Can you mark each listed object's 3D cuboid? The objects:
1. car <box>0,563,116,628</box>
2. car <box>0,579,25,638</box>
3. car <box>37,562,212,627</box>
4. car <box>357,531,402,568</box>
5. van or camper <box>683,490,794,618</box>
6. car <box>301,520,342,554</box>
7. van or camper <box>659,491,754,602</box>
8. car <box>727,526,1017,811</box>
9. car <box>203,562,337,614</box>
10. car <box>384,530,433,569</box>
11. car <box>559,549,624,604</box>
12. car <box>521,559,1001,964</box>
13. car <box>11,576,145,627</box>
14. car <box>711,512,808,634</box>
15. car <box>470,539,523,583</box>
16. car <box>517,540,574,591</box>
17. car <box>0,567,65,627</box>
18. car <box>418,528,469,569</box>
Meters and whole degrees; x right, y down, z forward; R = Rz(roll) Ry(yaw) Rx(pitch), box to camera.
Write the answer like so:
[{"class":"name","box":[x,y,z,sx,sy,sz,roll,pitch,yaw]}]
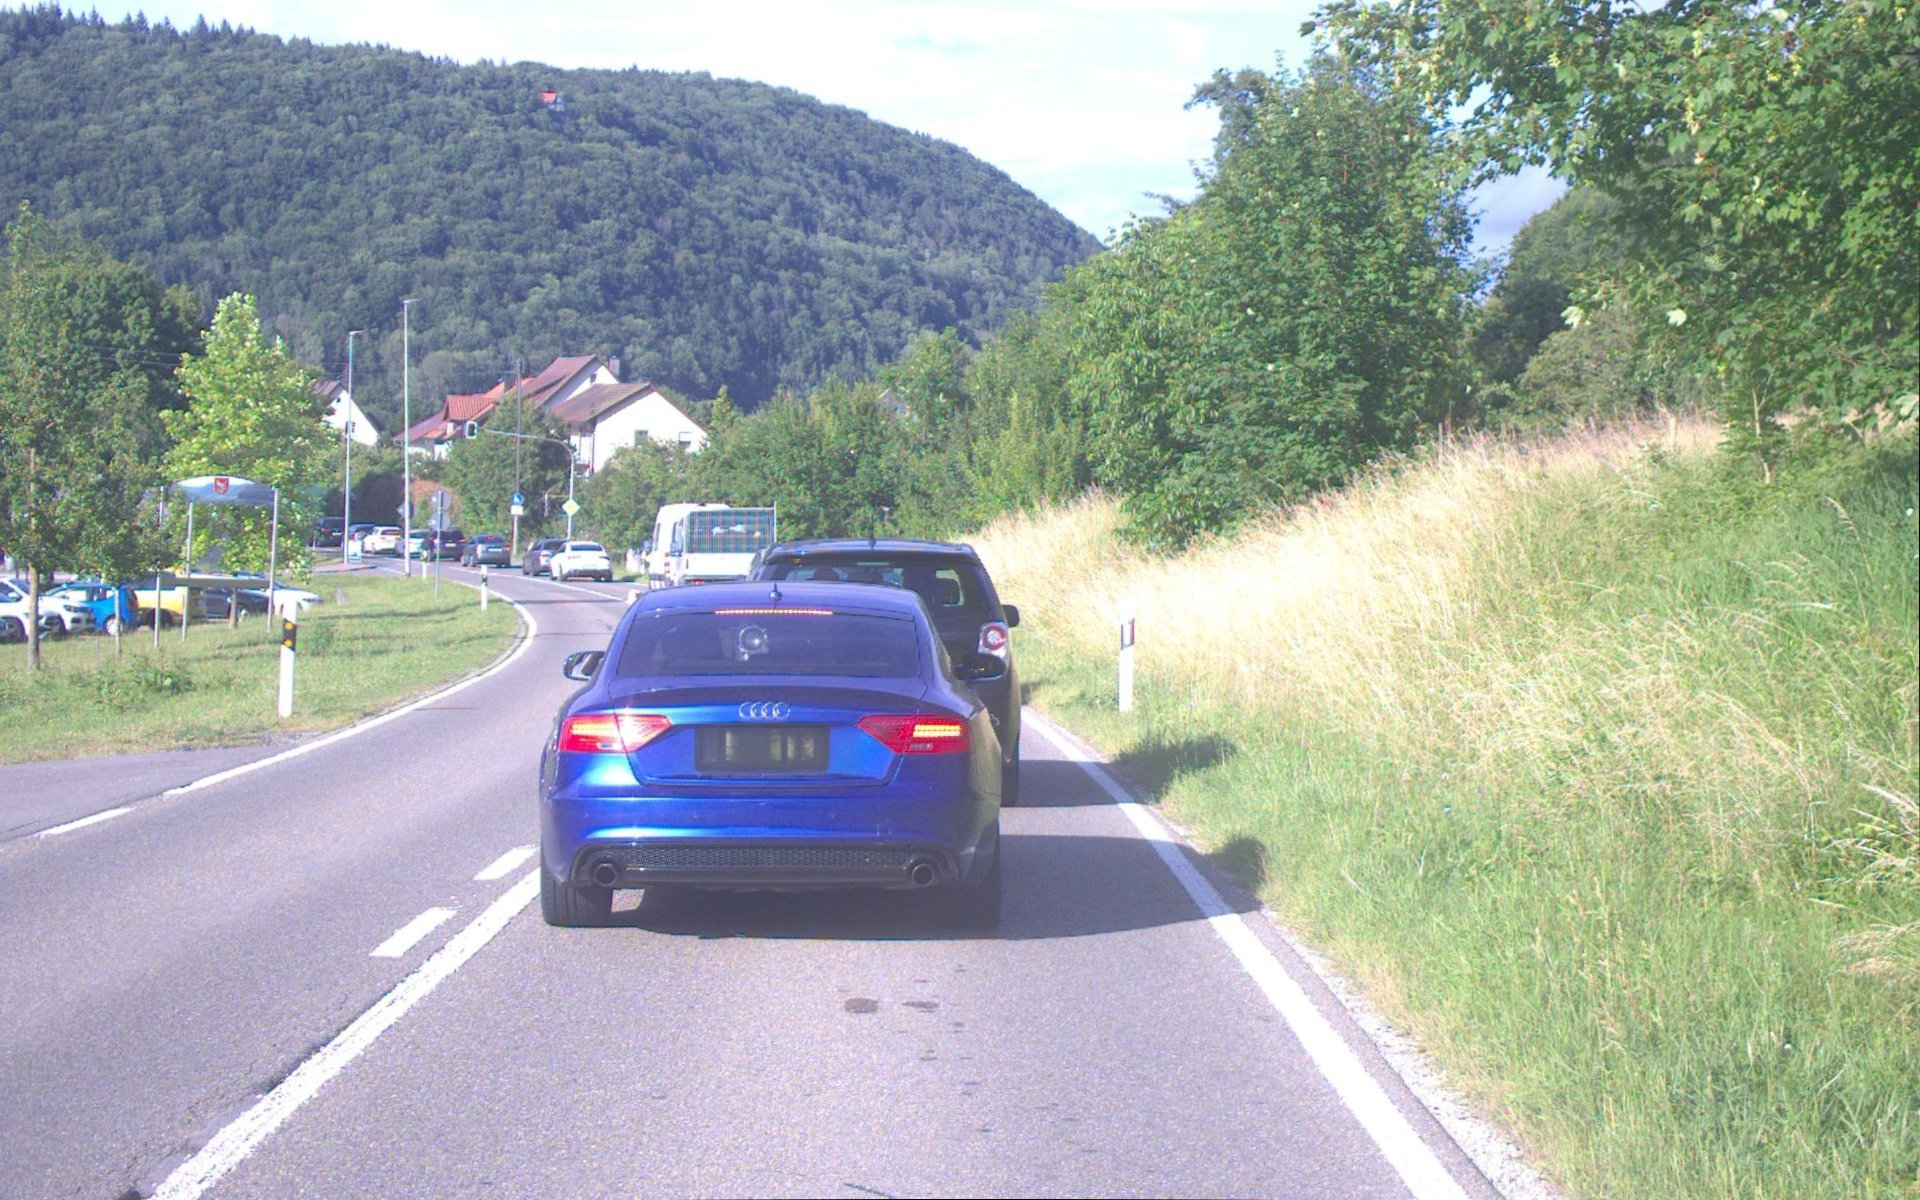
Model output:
[{"class":"car","box":[-24.829,-0.124,91.883,4.077,1.667,1.596,0,2,5]},{"class":"car","box":[-24.987,0.224,84.306,3.625,1.400,1.596,0,-2,5]},{"class":"car","box":[-24.171,-0.175,99.552,4.554,1.808,1.841,-1,1,5]},{"class":"car","box":[-30.782,-2.678,182.206,1.676,1.918,4.001,-1,1,-20]},{"class":"van or camper","box":[-4.566,-0.939,70.315,2.052,2.497,5.812,-1,1,-6]},{"class":"car","box":[-36.699,-3.600,197.583,1.676,1.918,4.001,-1,1,-20]},{"class":"van or camper","box":[-6.524,-1.357,87.941,2.280,2.704,5.768,-1,1,-5]},{"class":"car","box":[-0.587,0.373,21.741,1.645,1.619,3.517,1,1,-3]},{"class":"car","box":[-22.964,-0.402,114.450,4.036,1.655,1.655,-1,1,5]},{"class":"car","box":[-27.892,-2.531,173.779,1.676,1.918,4.001,-1,1,-20]},{"class":"car","box":[-13.163,-0.859,122.637,1.659,1.918,4.001,-1,1,-16]},{"class":"car","box":[-0.723,0.575,14.460,1.742,1.445,3.517,1,1,0]},{"class":"car","box":[-24.813,0.031,96.829,3.369,1.369,1.660,-1,1,-2]},{"class":"car","box":[-3.483,-0.484,59.262,1.567,2.007,4.001,-1,1,-5]},{"class":"car","box":[-20.552,-1.713,152.253,1.659,1.918,4.001,-1,1,-17]},{"class":"car","box":[-16.119,-1.346,133.439,1.659,1.918,4.001,-1,1,-14]},{"class":"car","box":[-24.865,-0.071,87.580,3.667,1.488,1.596,0,1,5]},{"class":"car","box":[-24.865,-2.477,165.463,1.676,1.918,4.001,-1,1,-19]}]
